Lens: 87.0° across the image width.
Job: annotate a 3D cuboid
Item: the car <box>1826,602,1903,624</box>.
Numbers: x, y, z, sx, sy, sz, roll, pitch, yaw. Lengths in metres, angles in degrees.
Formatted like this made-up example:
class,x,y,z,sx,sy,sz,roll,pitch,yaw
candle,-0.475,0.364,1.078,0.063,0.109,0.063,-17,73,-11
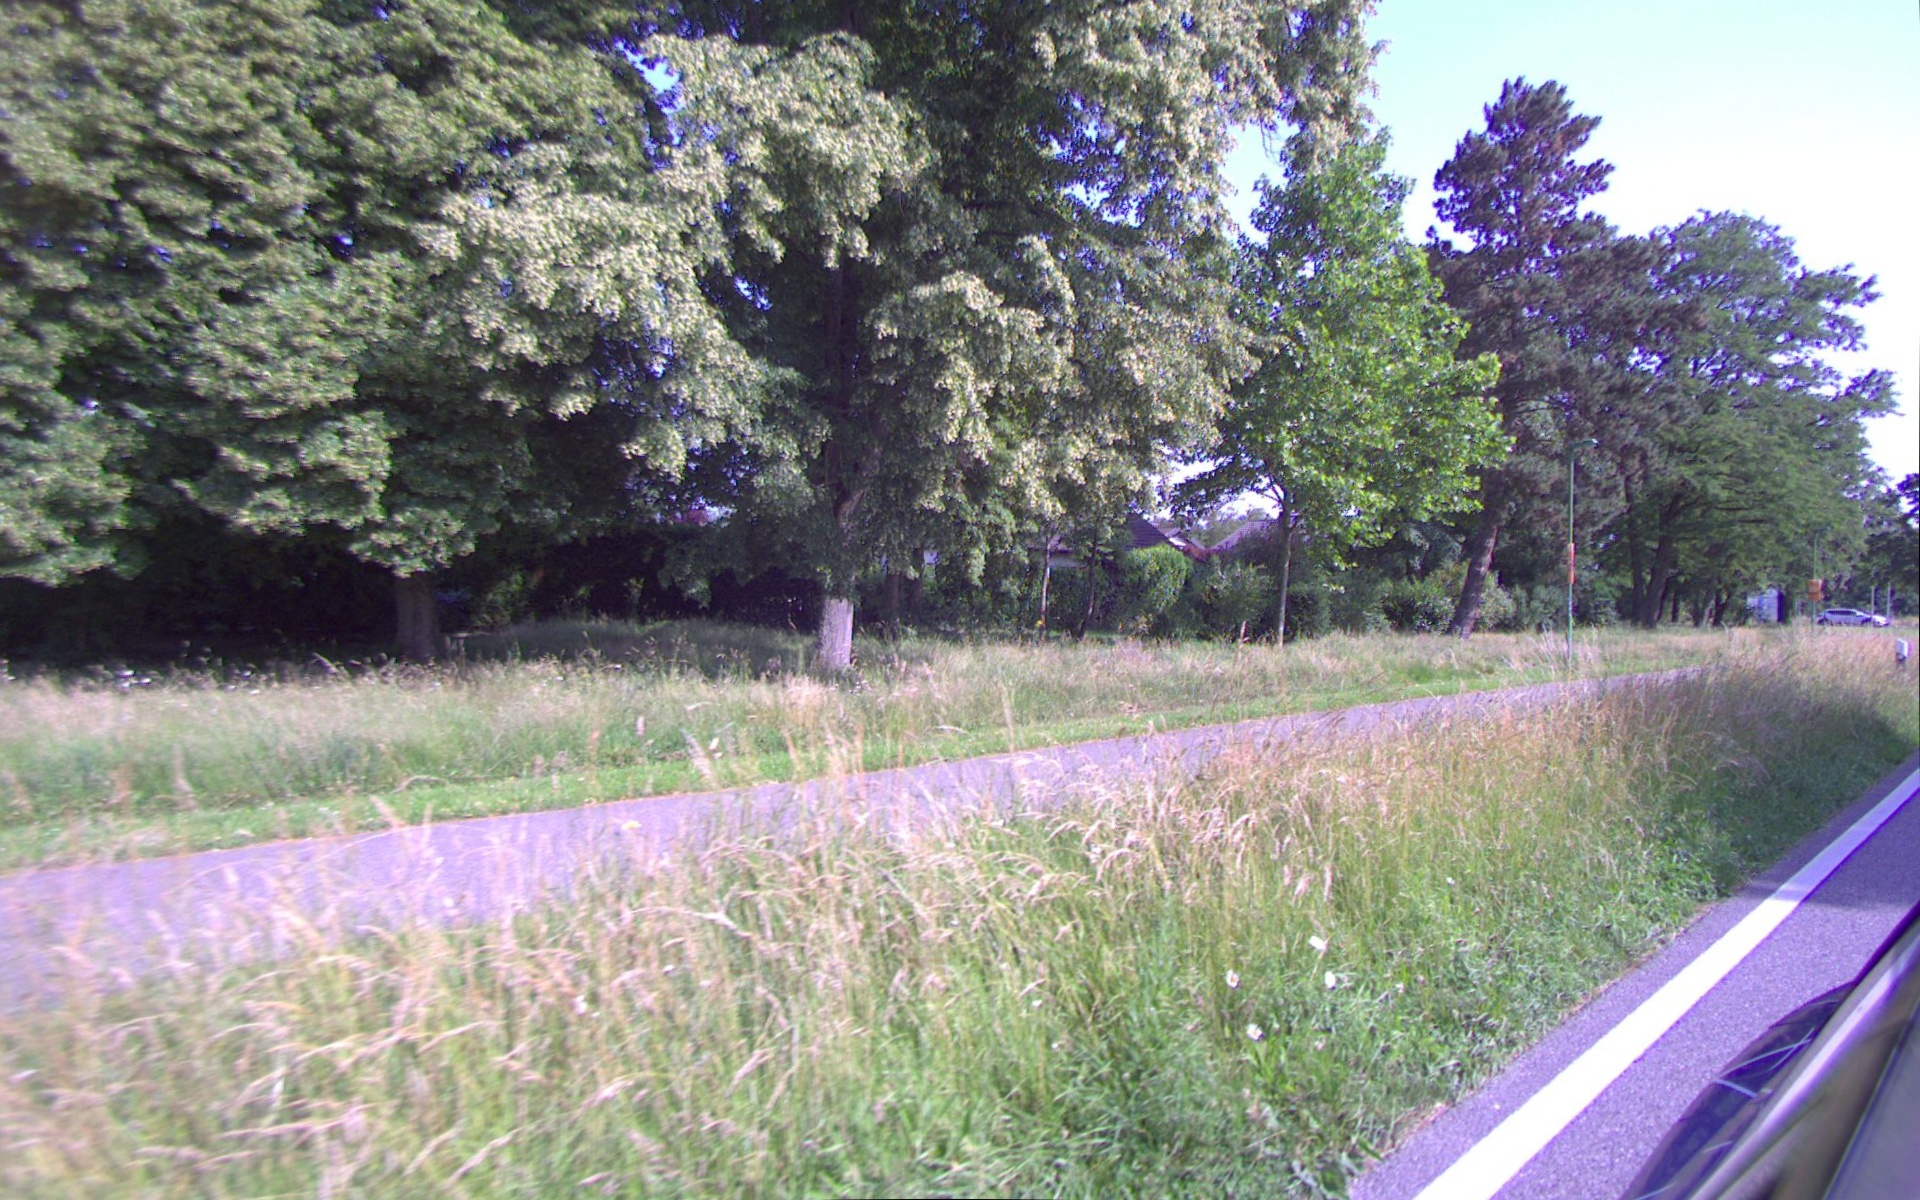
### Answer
class,x,y,z,sx,sy,sz,roll,pitch,yaw
car,68.335,0.977,76.514,1.963,1.504,3.999,1,1,-37
